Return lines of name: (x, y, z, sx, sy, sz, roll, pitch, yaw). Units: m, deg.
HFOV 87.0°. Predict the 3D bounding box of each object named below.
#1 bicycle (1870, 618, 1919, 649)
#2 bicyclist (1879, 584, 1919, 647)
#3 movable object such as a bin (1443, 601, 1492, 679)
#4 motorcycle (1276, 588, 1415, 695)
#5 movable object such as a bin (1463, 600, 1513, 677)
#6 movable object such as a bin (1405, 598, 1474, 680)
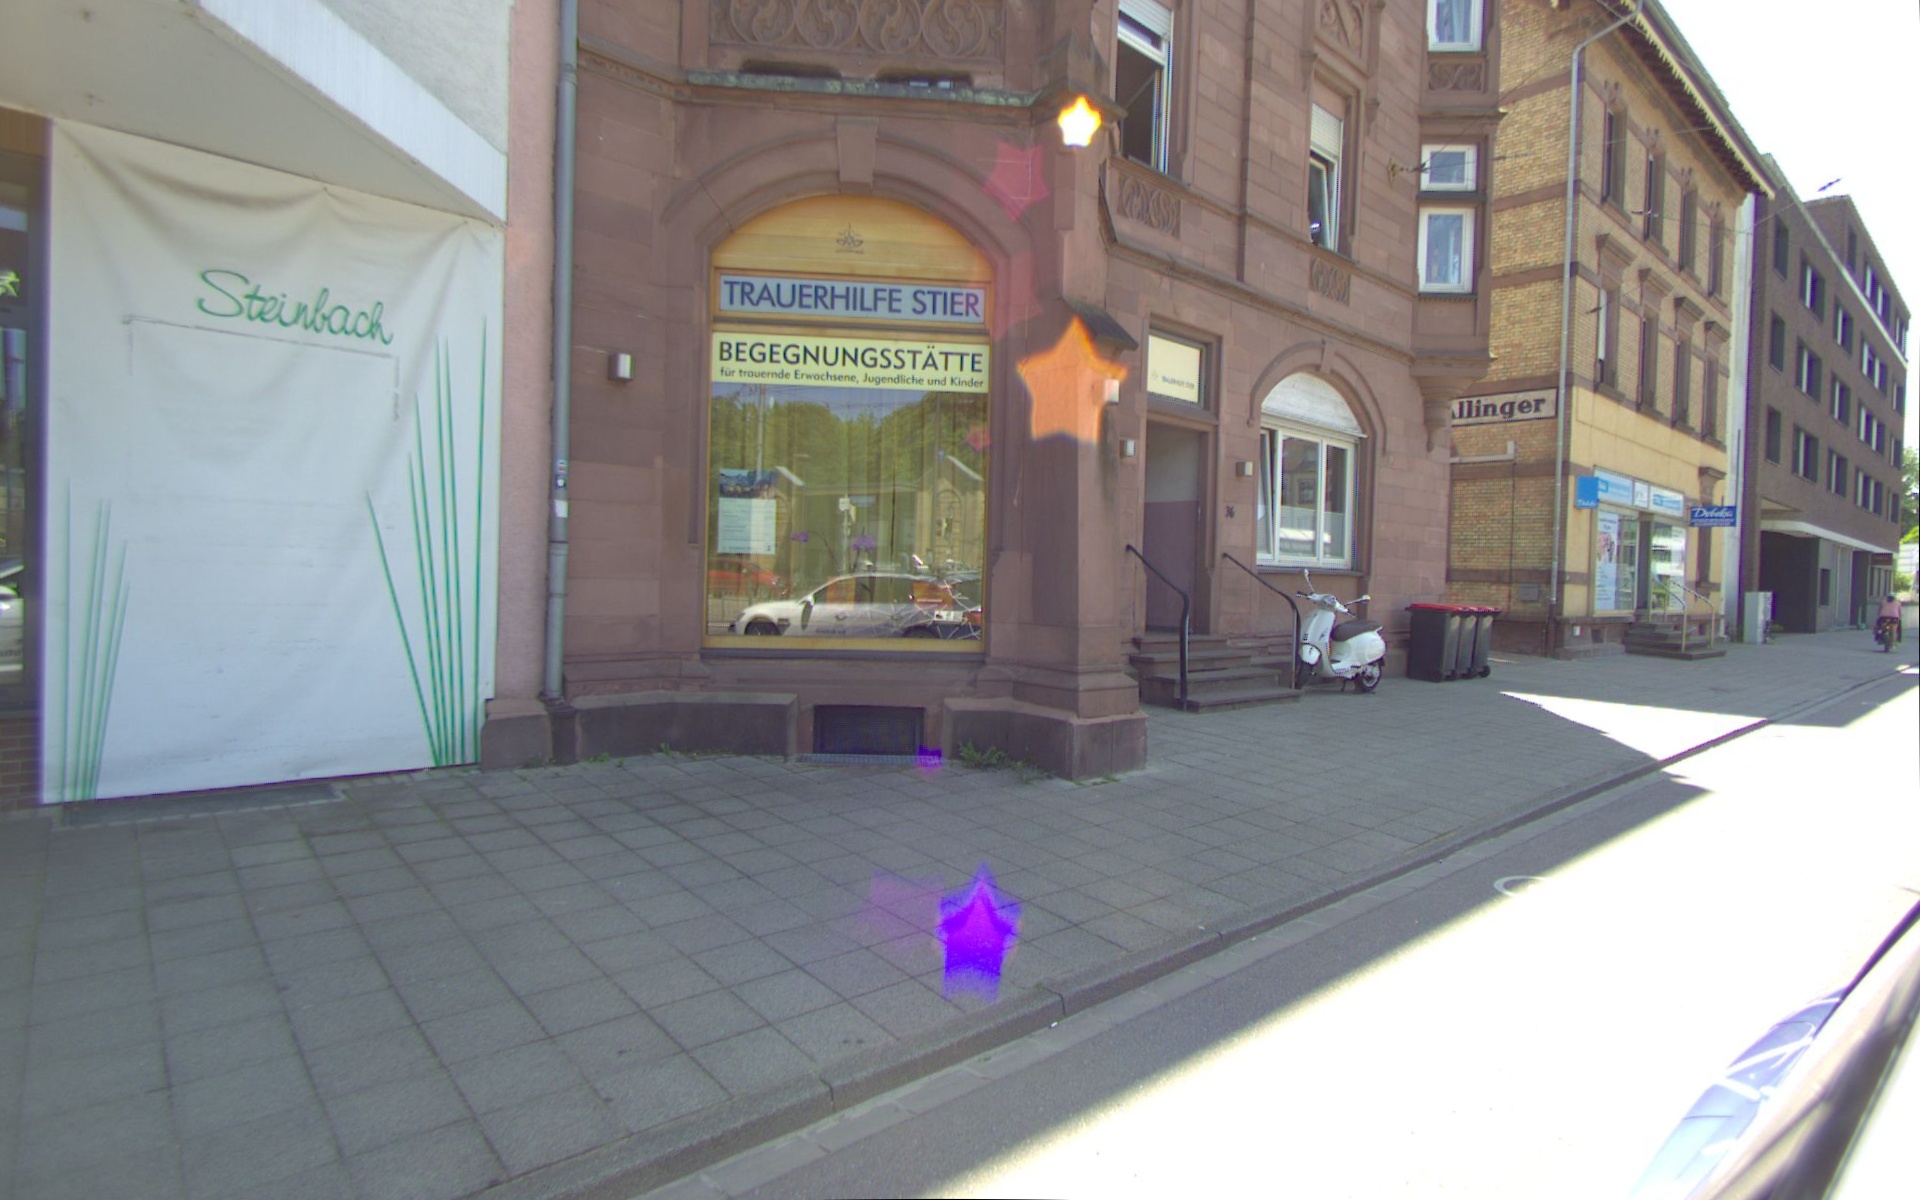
bicycle: (26.777, 0.939, 28.871, 1.870, 0.807, 0.691, 1, 1, -32)
bicyclist: (26.928, 0.428, 28.953, 0.910, 1.744, 0.672, 1, 1, -32)
movable object such as a bin: (7.198, 0.551, 14.349, 0.549, 1.061, 0.376, 0, 4, -42)
motorcycle: (4.532, 0.462, 11.847, 1.843, 1.163, 0.529, 1, 1, -33)
movable object such as a bin: (7.680, 0.543, 14.710, 0.646, 1.061, 0.376, 0, 4, -42)
movable object such as a bin: (6.668, 0.526, 14.089, 0.549, 1.061, 0.649, 0, 4, -42)
